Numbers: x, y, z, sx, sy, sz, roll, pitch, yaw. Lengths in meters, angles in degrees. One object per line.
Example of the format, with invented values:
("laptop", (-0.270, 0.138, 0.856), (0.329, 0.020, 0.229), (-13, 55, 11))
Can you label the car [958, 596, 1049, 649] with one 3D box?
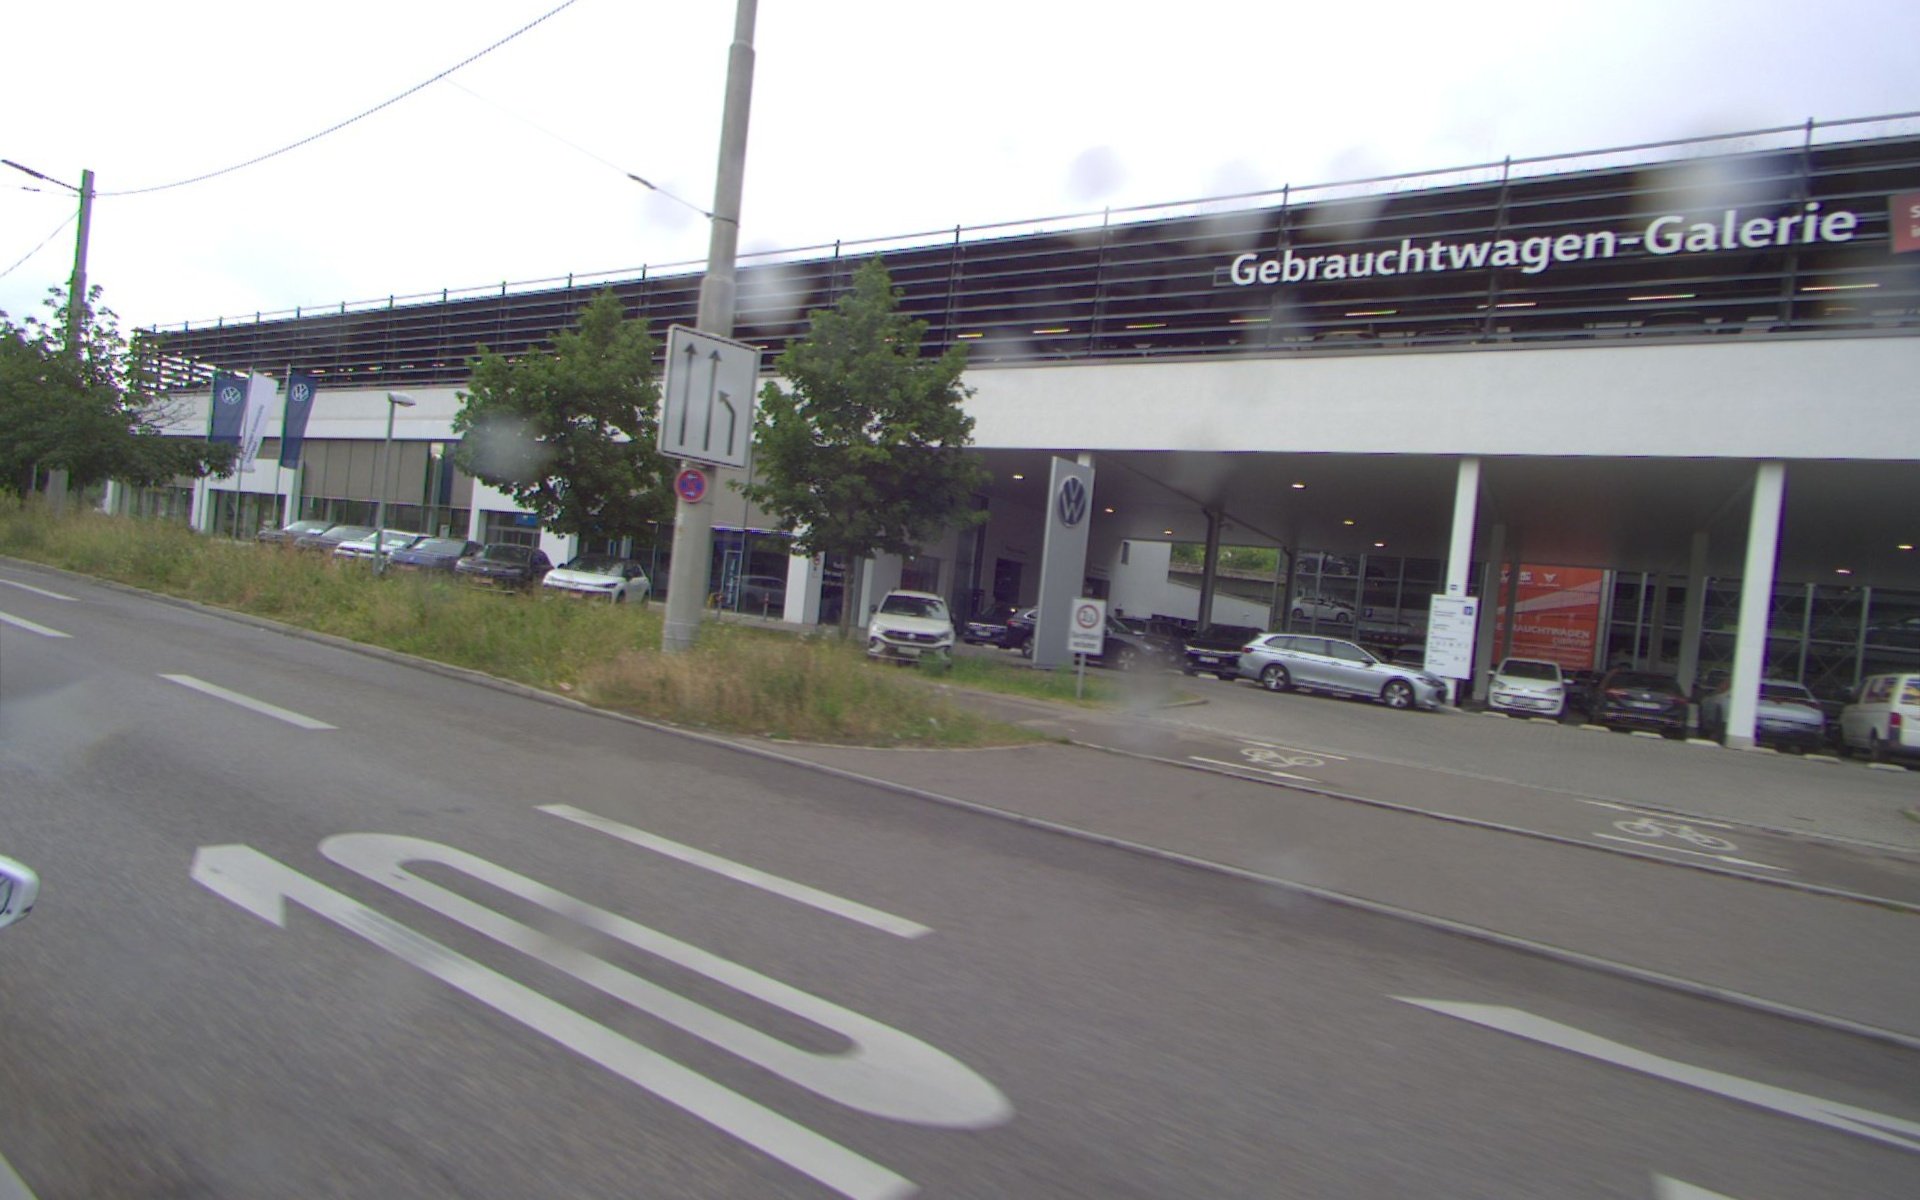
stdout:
("car", (1.529, 0.788, 33.780), (1.702, 1.470, 3.826), (7, 0, 23))

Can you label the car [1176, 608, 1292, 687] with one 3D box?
("car", (7.880, 1.399, 28.710), (1.861, 1.747, 3.994), (7, -3, 34))

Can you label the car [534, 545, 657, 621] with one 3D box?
("car", (-9.085, -0.432, 25.401), (1.767, 1.589, 4.095), (5, 1, -4))

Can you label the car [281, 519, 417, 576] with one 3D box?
("car", (-20.466, -1.716, 33.929), (1.765, 1.589, 4.373), (5, 1, 1))

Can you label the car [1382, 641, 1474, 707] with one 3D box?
("car", (12.695, 1.986, 27.185), (1.735, 1.442, 3.991), (7, 0, 31))

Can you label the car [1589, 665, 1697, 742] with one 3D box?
("car", (16.175, 2.399, 23.987), (1.735, 1.463, 3.991), (7, 0, 31))

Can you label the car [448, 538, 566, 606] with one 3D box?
("car", (-12.327, -0.760, 27.668), (1.768, 1.589, 4.182), (5, 1, -8))

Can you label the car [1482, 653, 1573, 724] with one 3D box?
("car", (14.525, 2.217, 25.706), (1.735, 1.442, 3.991), (7, 0, 31))

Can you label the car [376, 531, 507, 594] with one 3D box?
("car", (-15.206, -1.062, 29.776), (1.766, 1.589, 4.186), (5, 1, -3))

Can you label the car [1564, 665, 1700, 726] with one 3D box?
("car", (24.580, 3.458, 36.971), (3.934, 1.612, 1.807), (7, 1, 32))

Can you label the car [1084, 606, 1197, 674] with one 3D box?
("car", (5.503, 1.230, 30.250), (1.757, 1.525, 3.994), (7, -3, 34))

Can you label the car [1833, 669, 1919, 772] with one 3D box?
("car", (20.659, 2.601, 21.672), (1.912, 2.000, 4.031), (7, 0, 31))

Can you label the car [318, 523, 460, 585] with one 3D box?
("car", (-18.017, -1.398, 32.014), (1.821, 1.647, 4.353), (5, 1, 2))

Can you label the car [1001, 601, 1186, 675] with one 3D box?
("car", (3.615, 1.008, 27.617), (4.616, 1.487, 1.780), (6, 2, 31))

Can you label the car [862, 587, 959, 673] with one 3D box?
("car", (-0.969, 0.540, 21.059), (1.716, 1.484, 4.097), (5, 1, -1))

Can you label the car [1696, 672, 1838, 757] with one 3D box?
("car", (18.619, 2.571, 23.399), (1.873, 1.556, 3.991), (7, 0, 31))

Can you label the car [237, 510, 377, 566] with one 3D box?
("car", (-23.519, -2.184, 36.478), (1.817, 1.589, 4.624), (5, 1, 2))

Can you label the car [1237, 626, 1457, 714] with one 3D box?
("car", (9.337, 1.632, 24.413), (4.618, 1.487, 1.895), (6, 2, 31))
